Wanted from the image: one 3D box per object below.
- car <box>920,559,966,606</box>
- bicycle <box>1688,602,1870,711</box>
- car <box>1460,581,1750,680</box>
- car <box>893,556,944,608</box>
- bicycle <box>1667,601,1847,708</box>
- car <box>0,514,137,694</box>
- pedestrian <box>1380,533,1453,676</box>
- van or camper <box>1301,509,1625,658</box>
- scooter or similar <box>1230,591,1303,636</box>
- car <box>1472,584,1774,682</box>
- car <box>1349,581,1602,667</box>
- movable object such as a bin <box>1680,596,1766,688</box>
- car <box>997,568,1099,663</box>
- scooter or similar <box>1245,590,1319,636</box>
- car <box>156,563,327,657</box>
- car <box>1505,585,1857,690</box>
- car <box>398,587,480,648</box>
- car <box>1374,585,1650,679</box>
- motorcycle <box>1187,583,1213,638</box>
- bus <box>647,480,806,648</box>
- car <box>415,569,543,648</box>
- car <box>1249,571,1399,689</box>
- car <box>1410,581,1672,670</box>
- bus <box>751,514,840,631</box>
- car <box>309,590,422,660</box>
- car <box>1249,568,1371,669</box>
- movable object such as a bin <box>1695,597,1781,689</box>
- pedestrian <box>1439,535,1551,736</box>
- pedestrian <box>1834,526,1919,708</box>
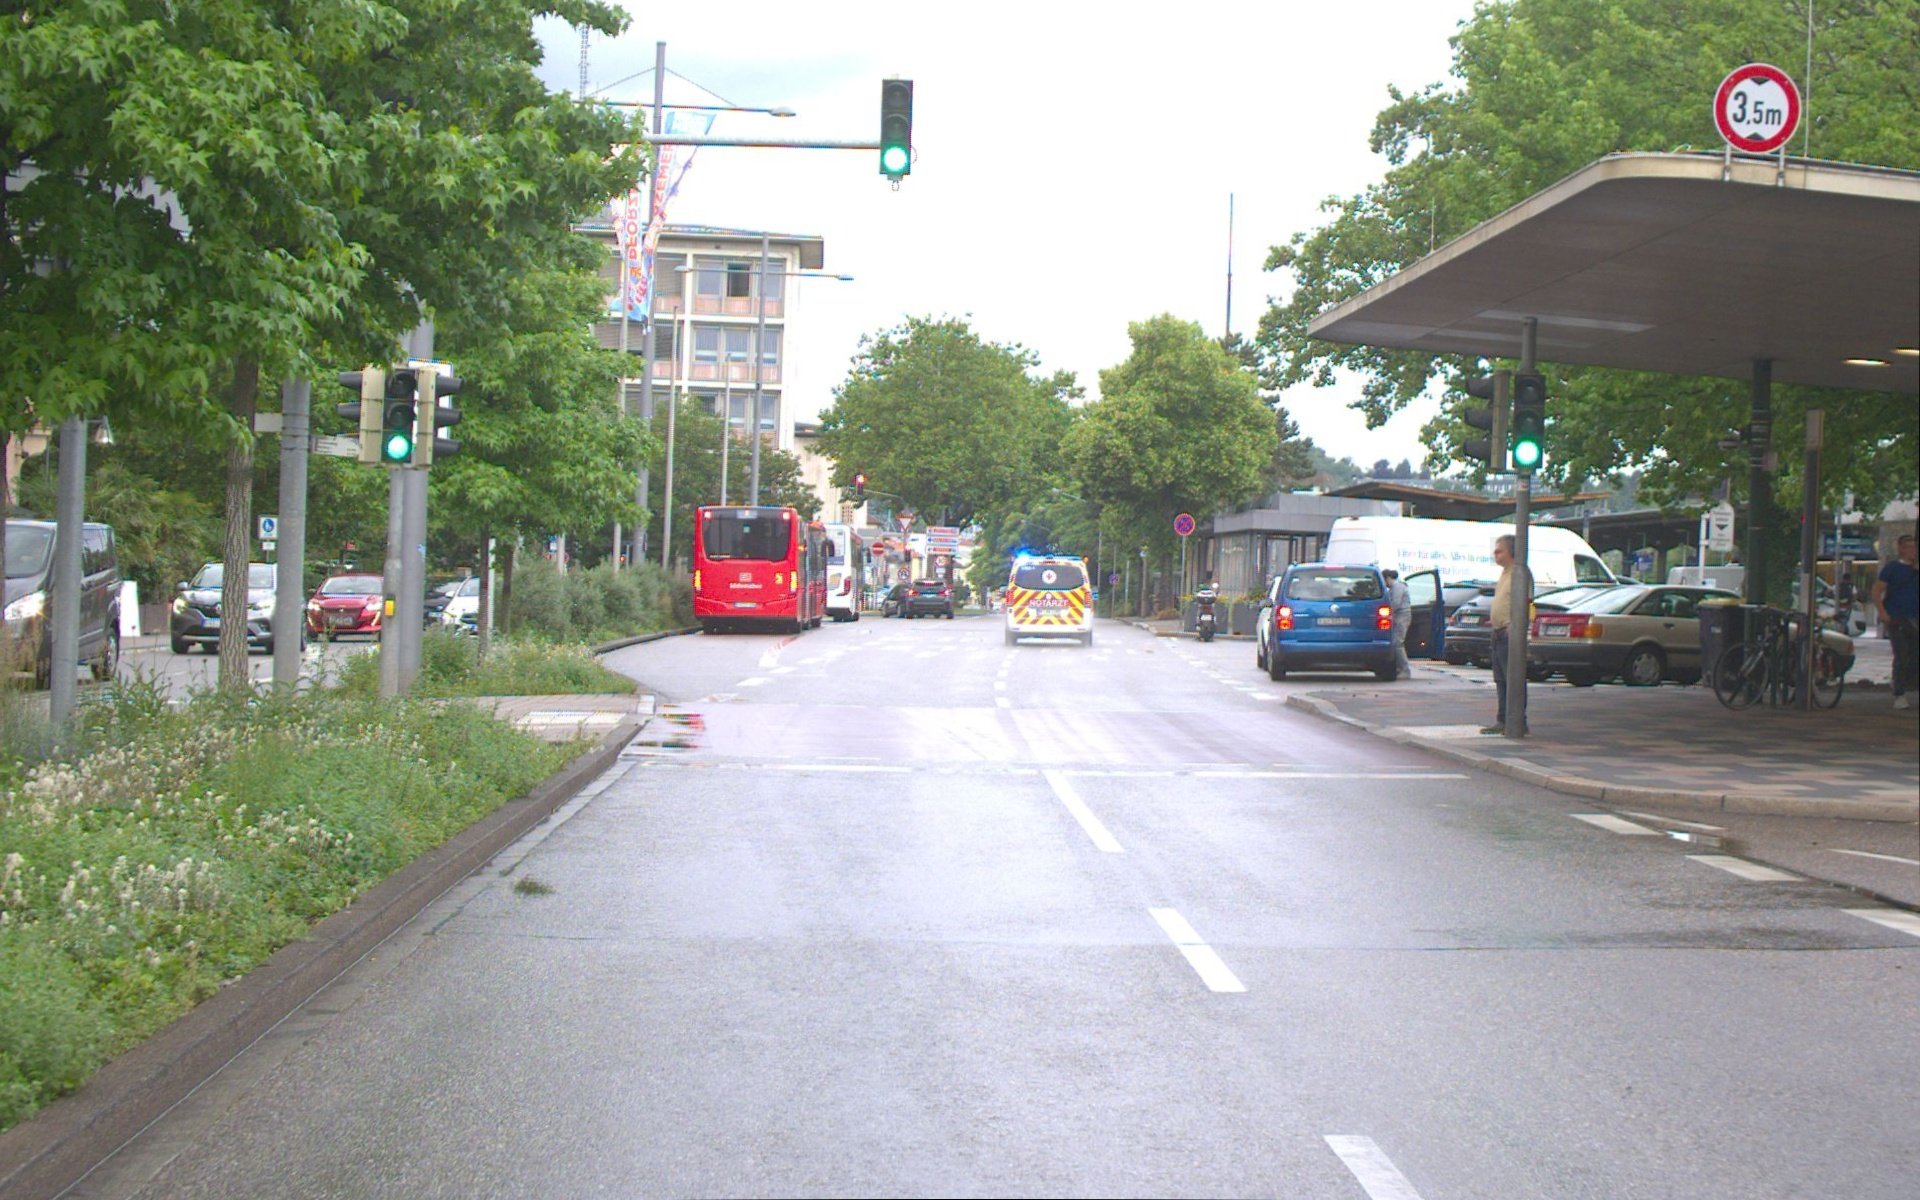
[{"bbox_3d":[-0.770,-0.764,151.467,1.993,2.007,4.000,0,0,-1],"label":"car"},{"bbox_3d":[8.222,0.559,34.492,1.827,1.052,0.420,-1,0,-19],"label":"bicycle"},{"bbox_3d":[9.763,0.467,52.027,3.986,1.438,1.865,1,0,-27],"label":"car"},{"bbox_3d":[-1.642,-0.702,136.103,1.993,2.007,4.000,0,0,-1],"label":"car"},{"bbox_3d":[8.102,0.548,34.939,1.827,1.052,0.420,-1,0,-19],"label":"bicycle"},{"bbox_3d":[-11.417,0.043,40.909,1.993,2.007,5.001,0,0,1],"label":"car"},{"bbox_3d":[6.478,0.065,48.822,0.831,2.007,0.889,0,0,-5],"label":"pedestrian"},{"bbox_3d":[9.641,-0.332,65.755,5.946,2.753,2.199,-1,0,-28],"label":"van or camper"},{"bbox_3d":[7.612,0.323,85.344,2.145,1.106,0.427,0,1,-40],"label":"scooter or similar"},{"bbox_3d":[9.454,0.472,48.957,3.987,1.354,1.865,1,0,-31],"label":"car"},{"bbox_3d":[8.956,0.424,59.700,3.986,1.438,1.865,1,0,-27],"label":"car"},{"bbox_3d":[9.206,0.503,41.492,0.751,1.091,0.749,0,0,-13],"label":"movable object such as a bin"},{"bbox_3d":[1.892,0.310,75.450,1.993,2.007,5.062,0,0,-1],"label":"car"},{"bbox_3d":[7.961,0.319,84.980,2.145,1.106,0.443,0,1,-40],"label":"scooter or similar"},{"bbox_3d":[-12.208,0.153,58.680,1.993,1.538,4.633,0,0,-1],"label":"car"},{"bbox_3d":[9.493,0.493,45.291,4.184,1.321,1.841,1,0,-20],"label":"car"},{"bbox_3d":[-13.500,0.431,89.193,1.597,1.525,3.653,0,0,-1],"label":"car"},{"bbox_3d":[8.783,0.511,54.656,3.986,1.438,1.865,1,0,-27],"label":"car"},{"bbox_3d":[5.768,0.238,82.612,0.595,1.284,1.953,0,1,5],"label":"motorcycle"},{"bbox_3d":[-5.777,-0.881,87.125,3.544,3.966,11.172,0,0,-2],"label":"bus"},{"bbox_3d":[-9.768,0.161,70.165,1.993,1.538,4.633,0,0,-1],"label":"car"},{"bbox_3d":[5.076,0.411,48.371,1.859,1.564,3.999,1,0,3],"label":"car"},{"bbox_3d":[9.727,0.430,57.507,3.986,1.438,1.865,1,0,-27],"label":"car"},{"bbox_3d":[-5.565,-0.912,116.679,2.805,3.734,10.446,2,0,-3],"label":"bus"},{"bbox_3d":[-12.564,0.504,72.807,1.747,1.425,3.953,0,0,-1],"label":"car"},{"bbox_3d":[5.495,0.289,54.332,1.788,1.517,3.681,1,0,4],"label":"car"},{"bbox_3d":[9.130,0.500,40.381,0.751,1.063,0.749,0,0,-9],"label":"movable object such as a bin"},{"bbox_3d":[4.705,0.309,30.282,0.746,1.741,0.836,0,0,-9],"label":"pedestrian"},{"bbox_3d":[9.548,0.174,35.253,0.856,1.829,1.190,0,0,-1],"label":"pedestrian"}]
